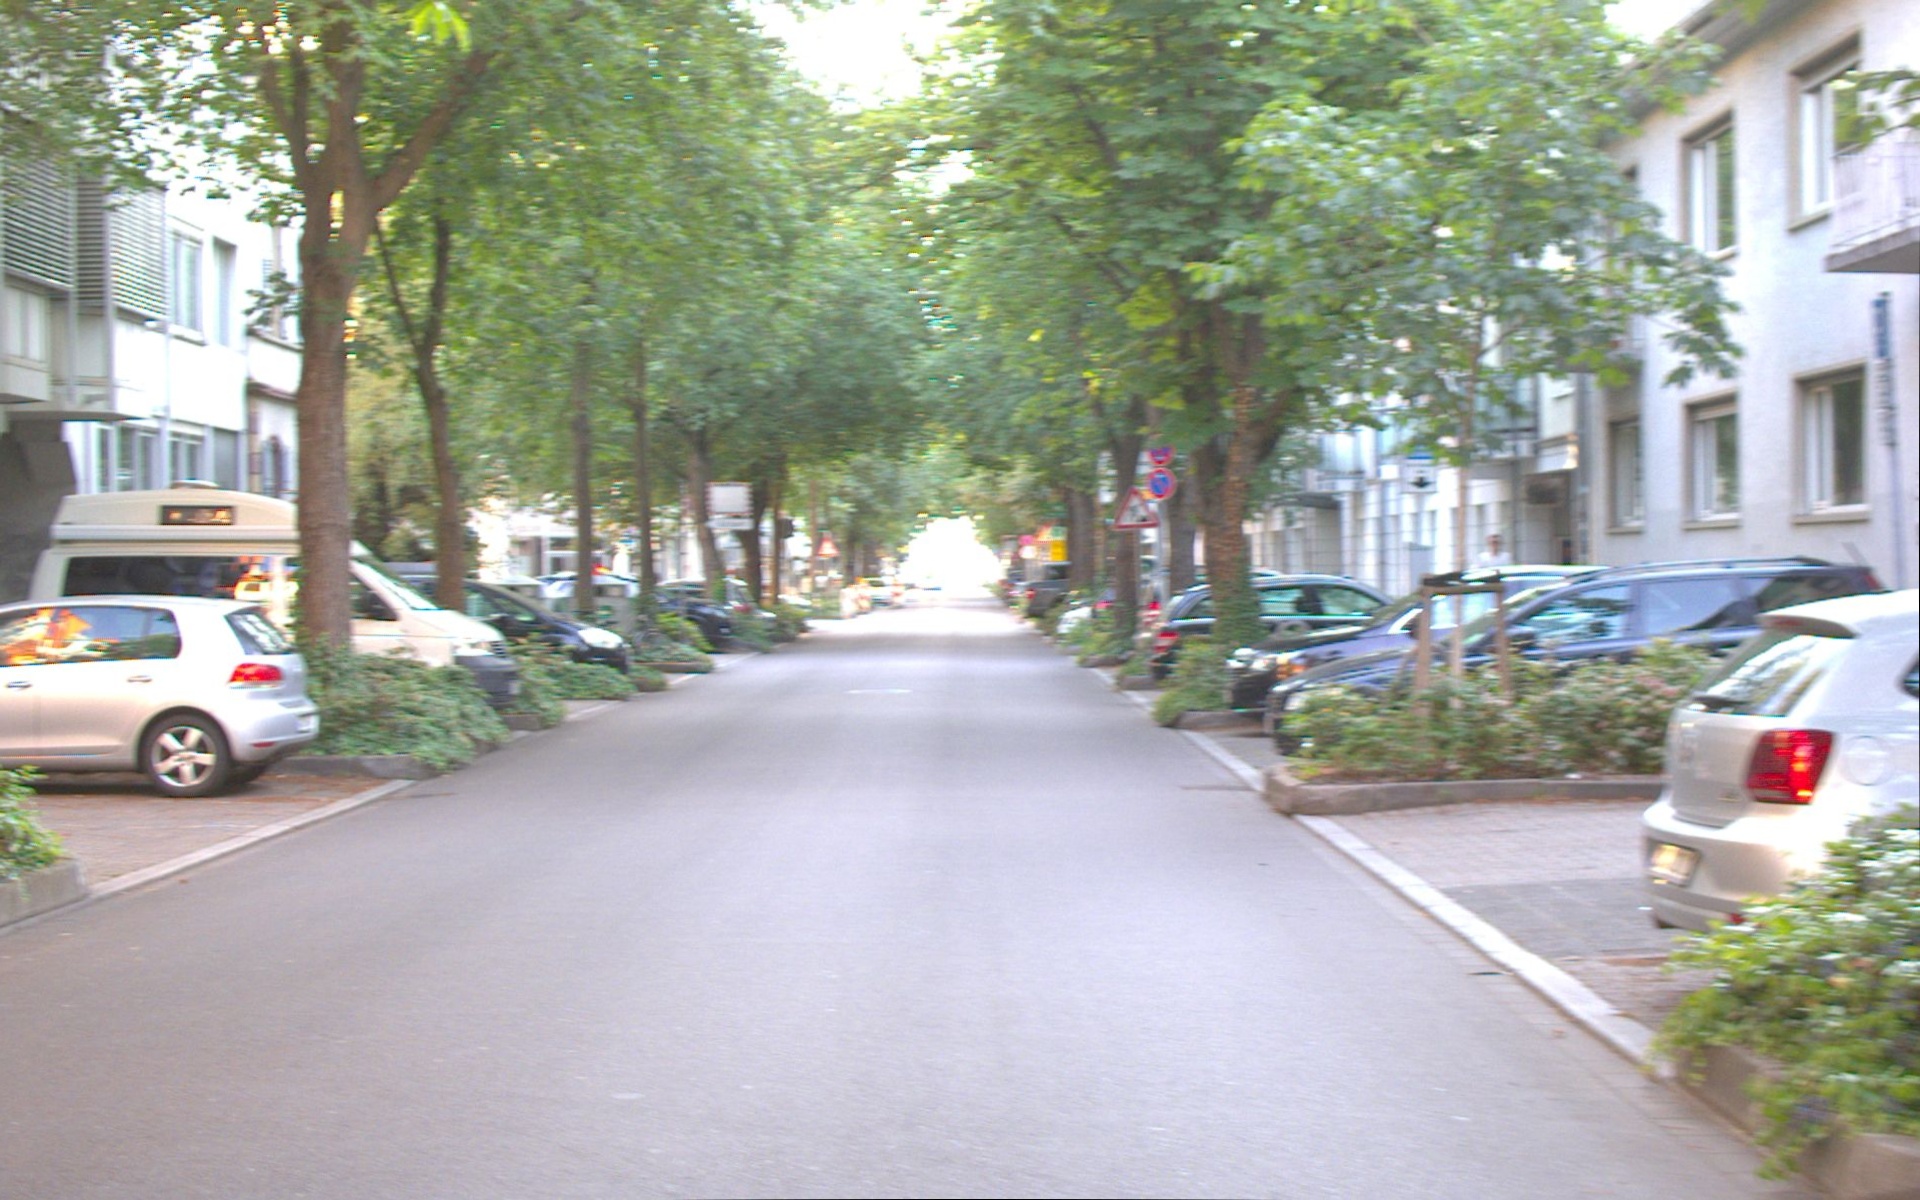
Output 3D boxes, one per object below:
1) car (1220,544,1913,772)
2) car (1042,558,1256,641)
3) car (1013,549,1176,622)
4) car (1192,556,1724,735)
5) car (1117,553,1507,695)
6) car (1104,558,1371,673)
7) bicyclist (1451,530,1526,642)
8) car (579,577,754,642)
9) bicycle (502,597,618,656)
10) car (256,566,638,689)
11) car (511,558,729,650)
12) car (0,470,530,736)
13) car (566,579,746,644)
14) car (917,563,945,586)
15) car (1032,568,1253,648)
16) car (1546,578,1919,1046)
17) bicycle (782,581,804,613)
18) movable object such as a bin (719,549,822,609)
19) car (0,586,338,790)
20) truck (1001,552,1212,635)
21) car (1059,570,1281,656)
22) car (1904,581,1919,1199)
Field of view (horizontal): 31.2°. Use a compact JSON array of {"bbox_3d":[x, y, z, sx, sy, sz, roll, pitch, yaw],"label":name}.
[{"bbox_3d":[4.442,0.413,25.812,4.840,1.443,2.042,-2,0,2],"label":"car"},{"bbox_3d":[4.354,-0.025,79.575,4.641,1.612,2.010,-4,0,-4],"label":"car"},{"bbox_3d":[3.901,-0.425,100.359,4.600,2.059,2.197,-1,0,-1],"label":"car"},{"bbox_3d":[4.595,0.407,32.278,4.678,1.383,2.000,-3,0,2],"label":"car"},{"bbox_3d":[4.175,0.275,41.129,4.459,1.422,2.011,-3,0,4],"label":"car"},{"bbox_3d":[4.349,0.229,54.327,3.969,1.580,1.916,-3,0,0],"label":"car"},{"bbox_3d":[7.736,-0.213,50.360,0.970,1.599,1.136,-1,1,3],"label":"bicyclist"},{"bbox_3d":[-7.150,0.222,83.969,3.987,1.560,1.929,0,0,5],"label":"car"},{"bbox_3d":[-5.677,0.373,48.855,1.553,0.828,0.613,0,0,3],"label":"bicycle"},{"bbox_3d":[-6.913,0.359,46.733,4.853,1.616,2.160,0,0,1],"label":"car"},{"bbox_3d":[-7.259,0.072,73.699,4.504,1.949,2.000,0,0,-1],"label":"car"},{"bbox_3d":[-6.929,0.017,34.315,5.003,2.564,2.121,0,1,0],"label":"car"},{"bbox_3d":[-6.955,0.247,78.928,3.986,1.459,1.922,0,0,-1],"label":"car"},{"bbox_3d":[-2.206,-1.905,260.170,2.009,1.607,4.120,1,2,-2],"label":"car"},{"bbox_3d":[3.933,0.165,74.526,4.599,1.463,1.796,-3,0,-1],"label":"car"},{"bbox_3d":[4.266,0.668,11.987,4.081,1.485,1.798,0,0,-3],"label":"car"},{"bbox_3d":[-6.114,-0.117,125.797,0.683,1.149,1.981,-1,1,-5],"label":"bicycle"},{"bbox_3d":[-7.761,-0.857,140.333,4.045,2.375,2.785,0,1,-6],"label":"movable object such as a bin"},{"bbox_3d":[-6.991,0.643,26.083,4.168,1.463,1.953,0,0,1],"label":"car"},{"bbox_3d":[4.126,-0.183,97.616,5.888,2.303,2.212,0,0,1],"label":"truck"},{"bbox_3d":[4.151,0.242,68.380,4.082,1.446,1.935,-3,0,-5],"label":"car"},{"bbox_3d":[3.813,0.722,4.012,4.874,1.492,1.988,0,0,0],"label":"car"}]
